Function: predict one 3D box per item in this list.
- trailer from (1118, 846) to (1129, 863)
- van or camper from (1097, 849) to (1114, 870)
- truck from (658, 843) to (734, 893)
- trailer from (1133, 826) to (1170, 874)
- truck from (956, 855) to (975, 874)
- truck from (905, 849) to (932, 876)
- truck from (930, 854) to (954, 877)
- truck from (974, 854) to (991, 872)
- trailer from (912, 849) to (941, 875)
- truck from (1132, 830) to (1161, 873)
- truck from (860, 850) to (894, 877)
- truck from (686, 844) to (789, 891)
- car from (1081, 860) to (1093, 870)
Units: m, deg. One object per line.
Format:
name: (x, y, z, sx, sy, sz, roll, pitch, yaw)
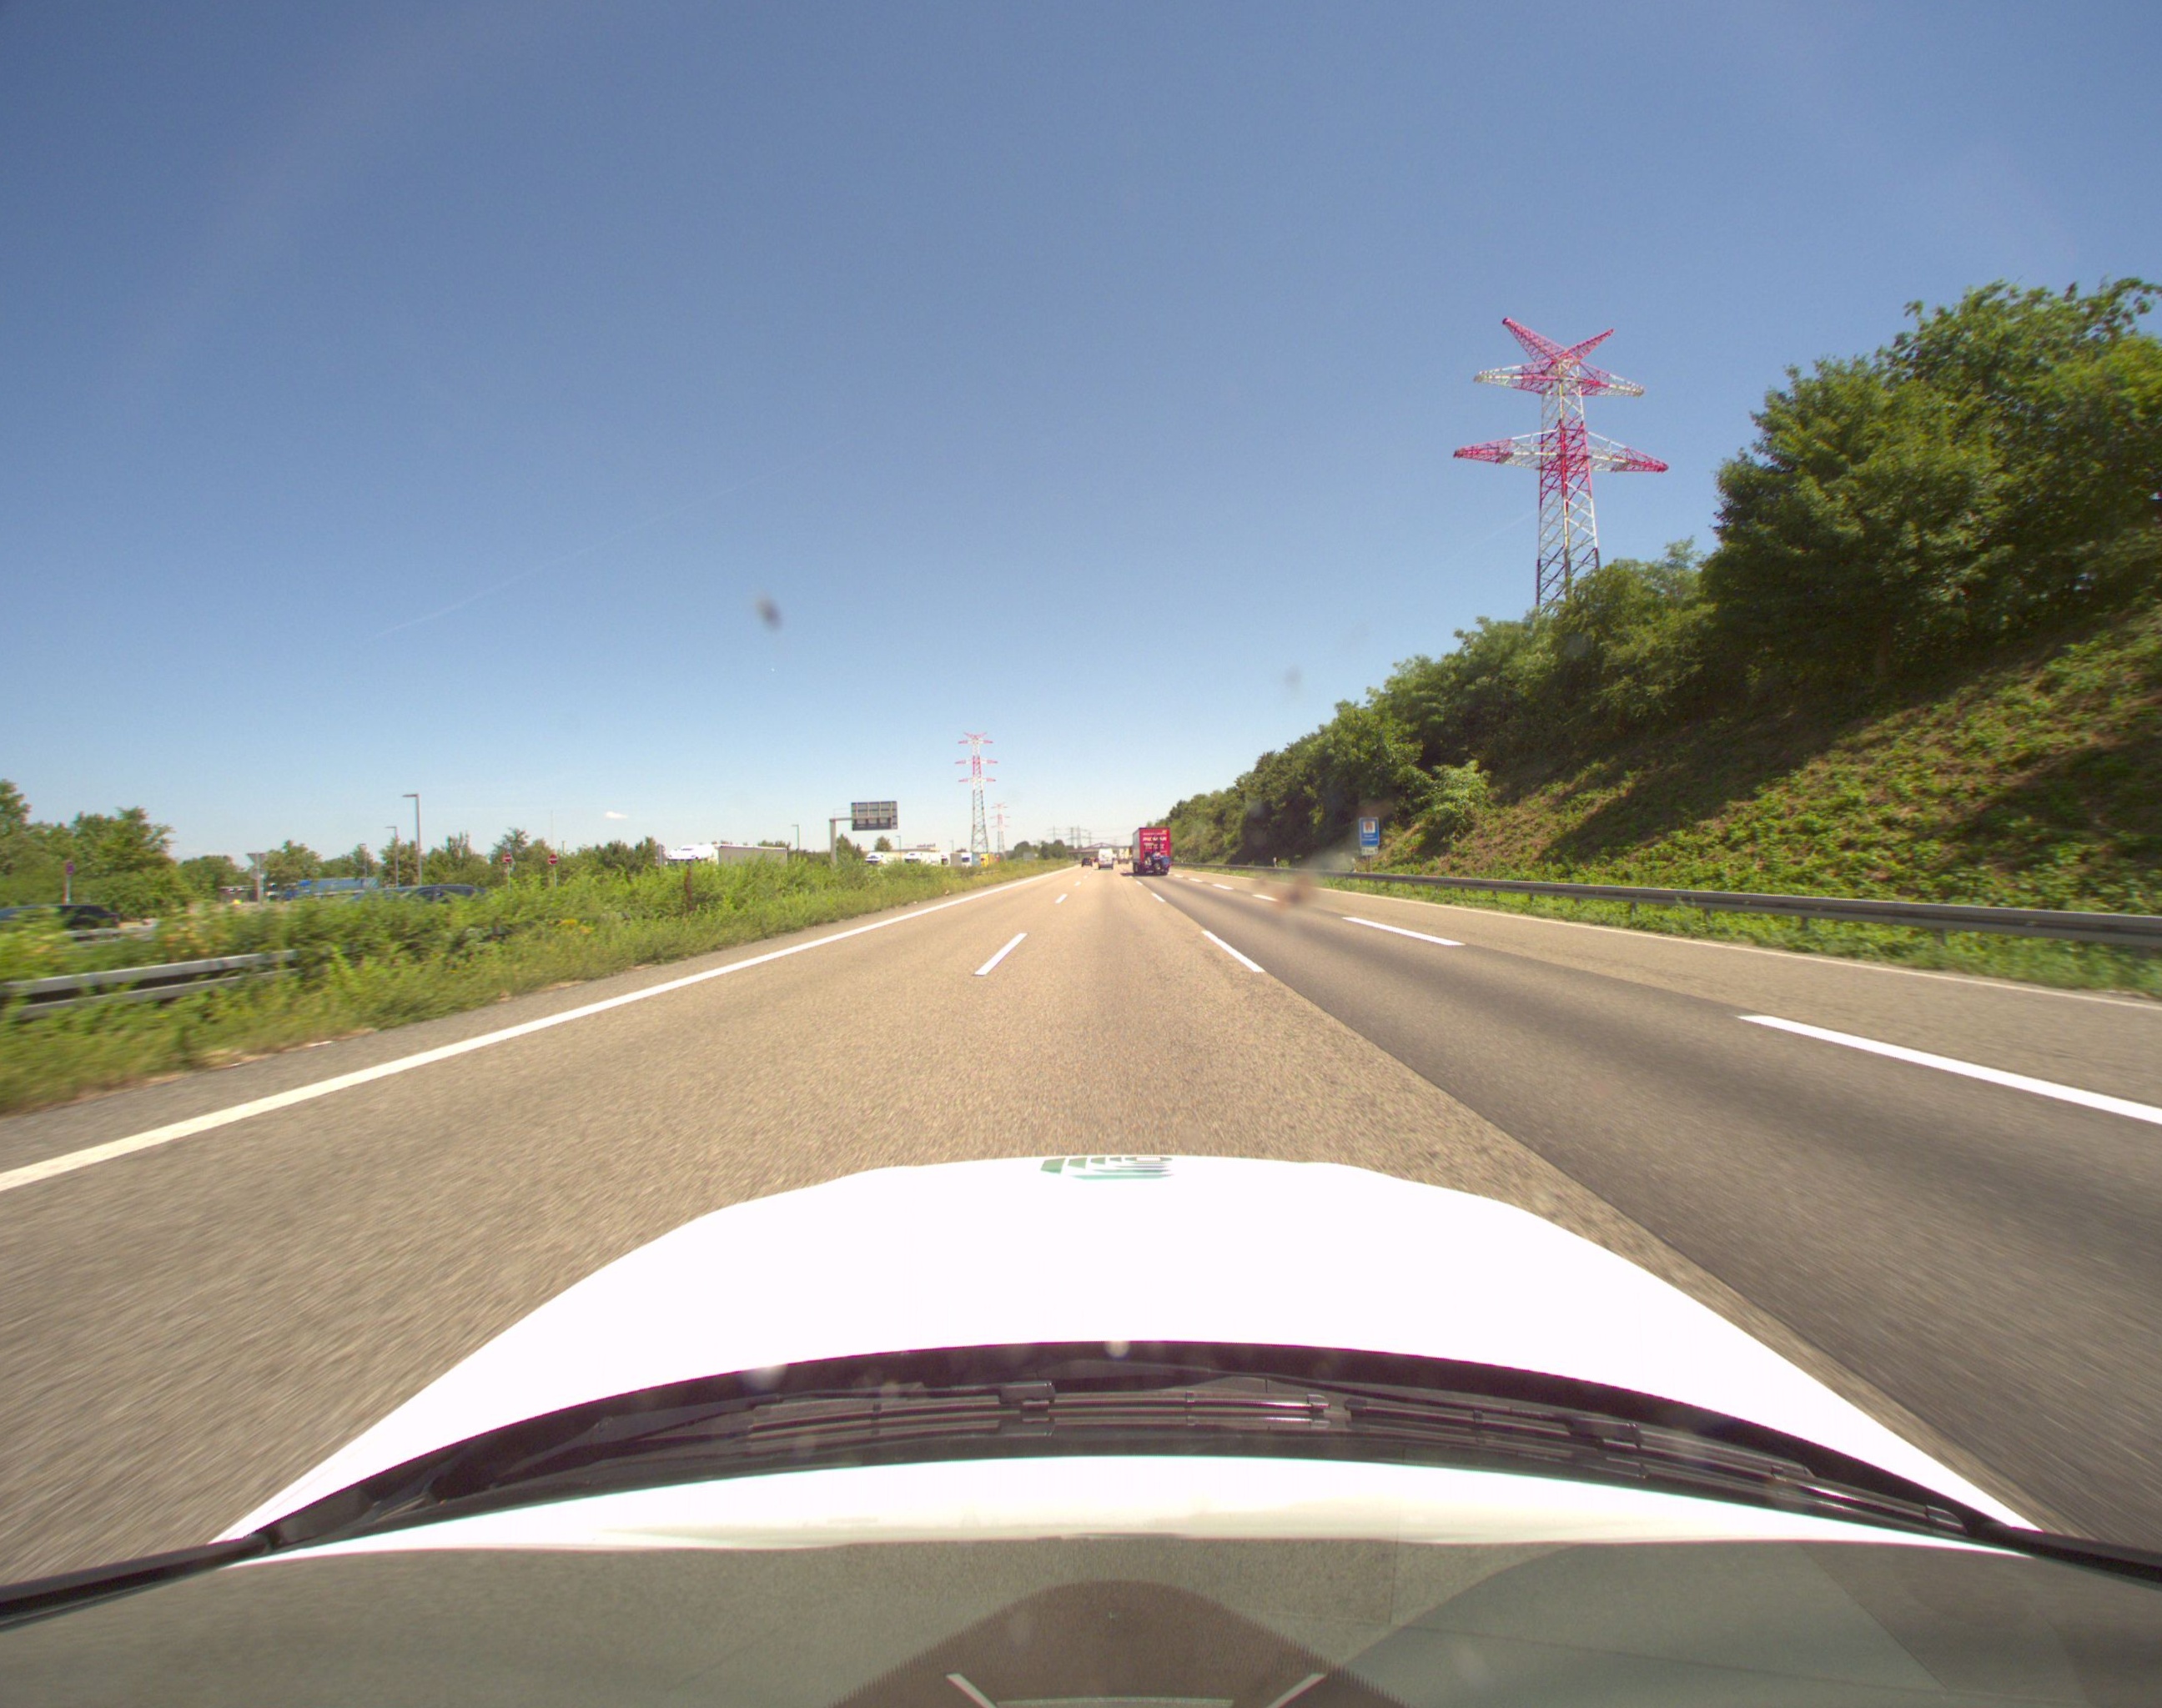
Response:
trailer: (10.535, 0.152, 202.743, 2.626, 4.060, 12.375, 0, -1, 3)
van or camper: (3.300, 0.746, 110.455, 2.221, 2.782, 5.425, 0, -1, 2)
truck: (-29.778, 1.065, 63.256, 2.789, 3.643, 6.149, 0, -1, 2)
trailer: (6.156, -0.271, 73.343, 2.481, 3.909, 14.250, -1, -1, 2)
truck: (-25.105, 2.201, 177.067, 2.839, 4.073, 7.090, 0, -1, 1)
truck: (-25.986, 1.353, 130.661, 2.572, 4.188, 7.939, -1, -1, 2)
truck: (-26.037, 2.138, 152.433, 3.106, 4.158, 7.504, 0, -1, 1)
truck: (-24.026, 2.243, 198.804, 2.823, 4.200, 7.920, 0, -1, 1)
trailer: (-25.806, 1.375, 136.530, 2.589, 4.219, 10.517, 0, -1, 1)
truck: (6.367, -0.205, 80.028, 2.490, 3.920, 7.099, -1, -1, 2)
truck: (-32.628, 1.491, 130.362, 3.083, 4.152, 8.319, 0, -1, 2)
truck: (-29.526, 1.118, 71.070, 2.789, 3.643, 13.611, 0, -1, 2)
car: (1.150, 2.017, 148.207, 1.973, 1.817, 3.816, 0, -1, 4)
